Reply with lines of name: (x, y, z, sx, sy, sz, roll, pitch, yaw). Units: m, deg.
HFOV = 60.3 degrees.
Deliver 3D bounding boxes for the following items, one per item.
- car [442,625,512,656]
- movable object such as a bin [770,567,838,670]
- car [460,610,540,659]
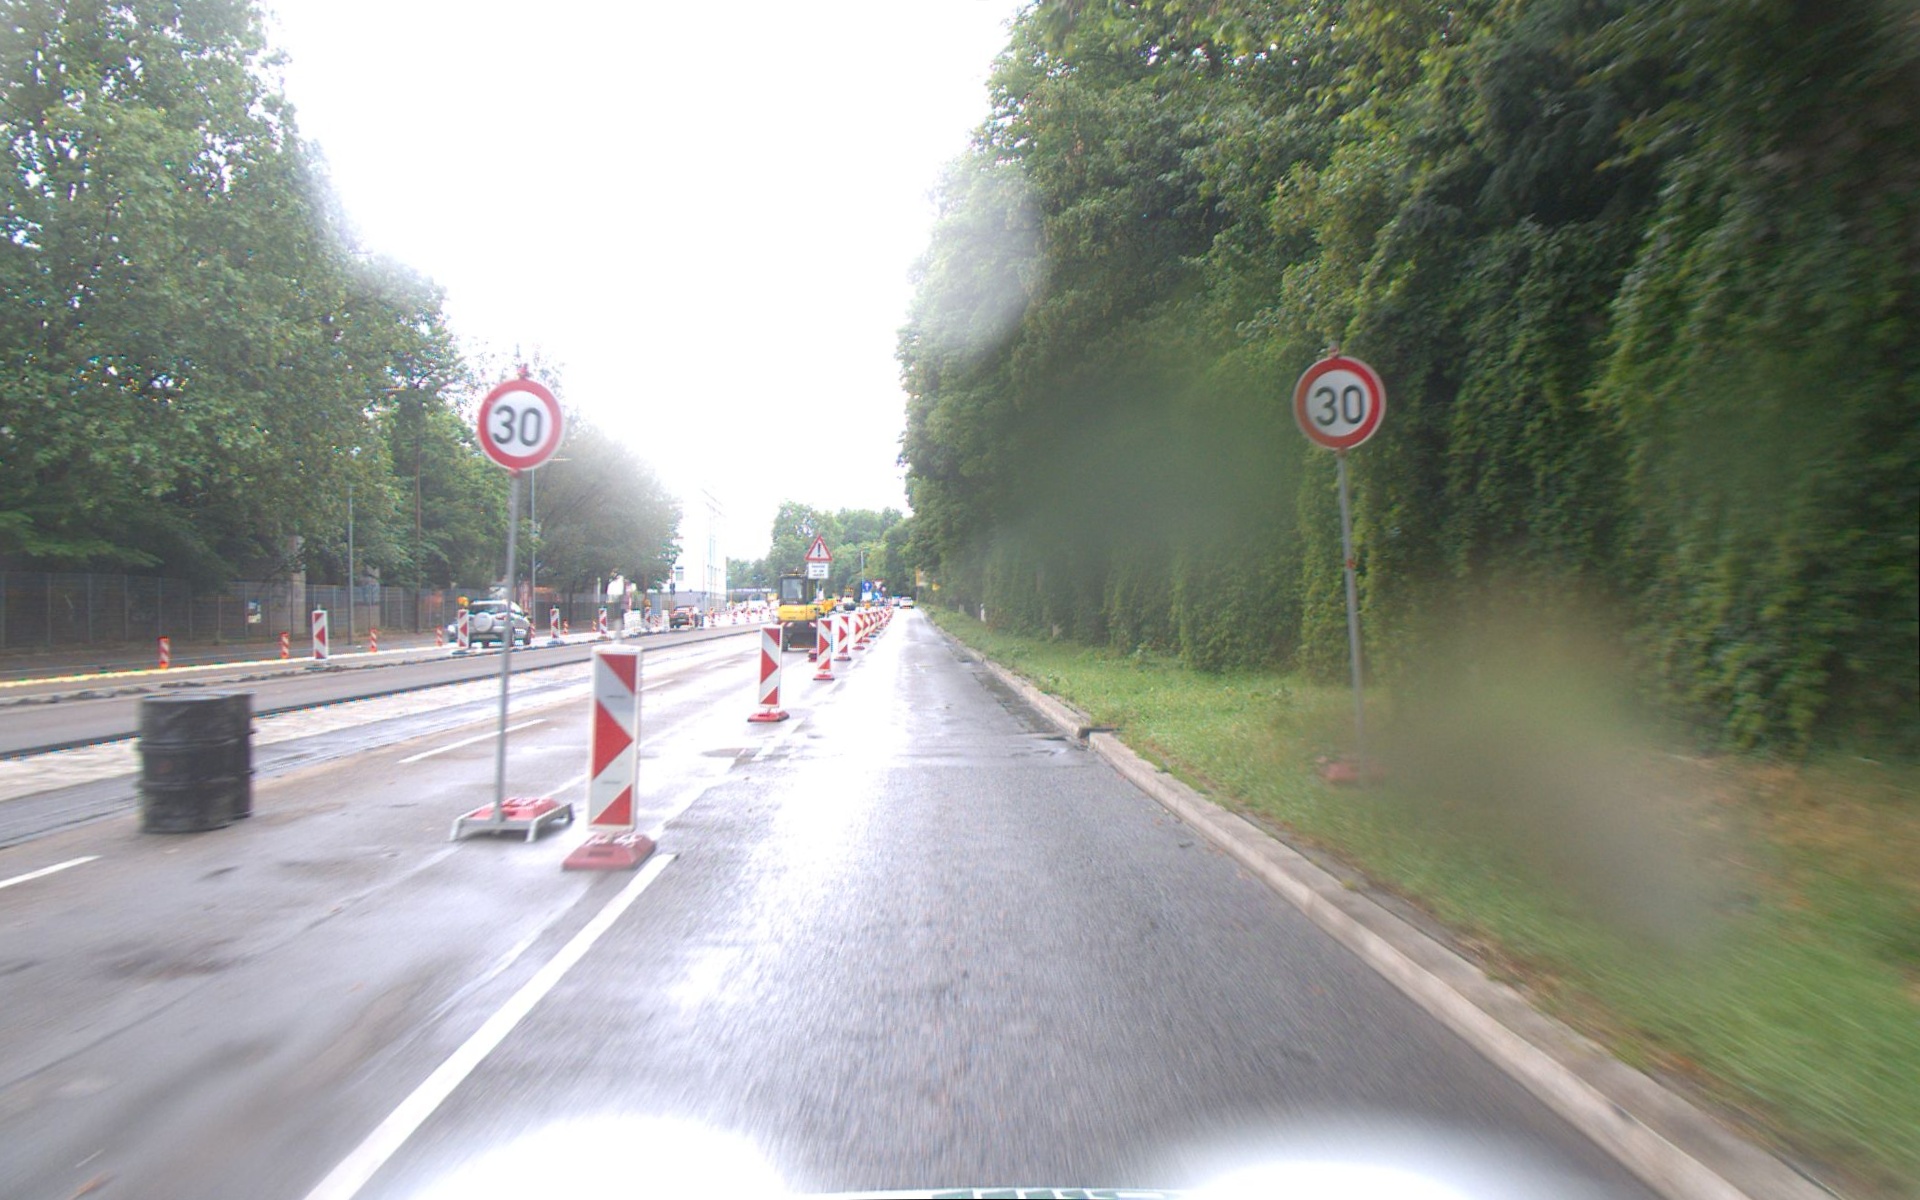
car: (-22.516, 1.884, 77.275, 1.953, 1.372, 4.789, 0, -1, -2)
movable object such as a bin: (-5.418, 0.680, 58.044, 1.953, 3.427, 5.979, 0, -1, -2)
car: (-16.332, 1.221, 58.901, 1.817, 1.677, 3.998, 0, -1, -2)
